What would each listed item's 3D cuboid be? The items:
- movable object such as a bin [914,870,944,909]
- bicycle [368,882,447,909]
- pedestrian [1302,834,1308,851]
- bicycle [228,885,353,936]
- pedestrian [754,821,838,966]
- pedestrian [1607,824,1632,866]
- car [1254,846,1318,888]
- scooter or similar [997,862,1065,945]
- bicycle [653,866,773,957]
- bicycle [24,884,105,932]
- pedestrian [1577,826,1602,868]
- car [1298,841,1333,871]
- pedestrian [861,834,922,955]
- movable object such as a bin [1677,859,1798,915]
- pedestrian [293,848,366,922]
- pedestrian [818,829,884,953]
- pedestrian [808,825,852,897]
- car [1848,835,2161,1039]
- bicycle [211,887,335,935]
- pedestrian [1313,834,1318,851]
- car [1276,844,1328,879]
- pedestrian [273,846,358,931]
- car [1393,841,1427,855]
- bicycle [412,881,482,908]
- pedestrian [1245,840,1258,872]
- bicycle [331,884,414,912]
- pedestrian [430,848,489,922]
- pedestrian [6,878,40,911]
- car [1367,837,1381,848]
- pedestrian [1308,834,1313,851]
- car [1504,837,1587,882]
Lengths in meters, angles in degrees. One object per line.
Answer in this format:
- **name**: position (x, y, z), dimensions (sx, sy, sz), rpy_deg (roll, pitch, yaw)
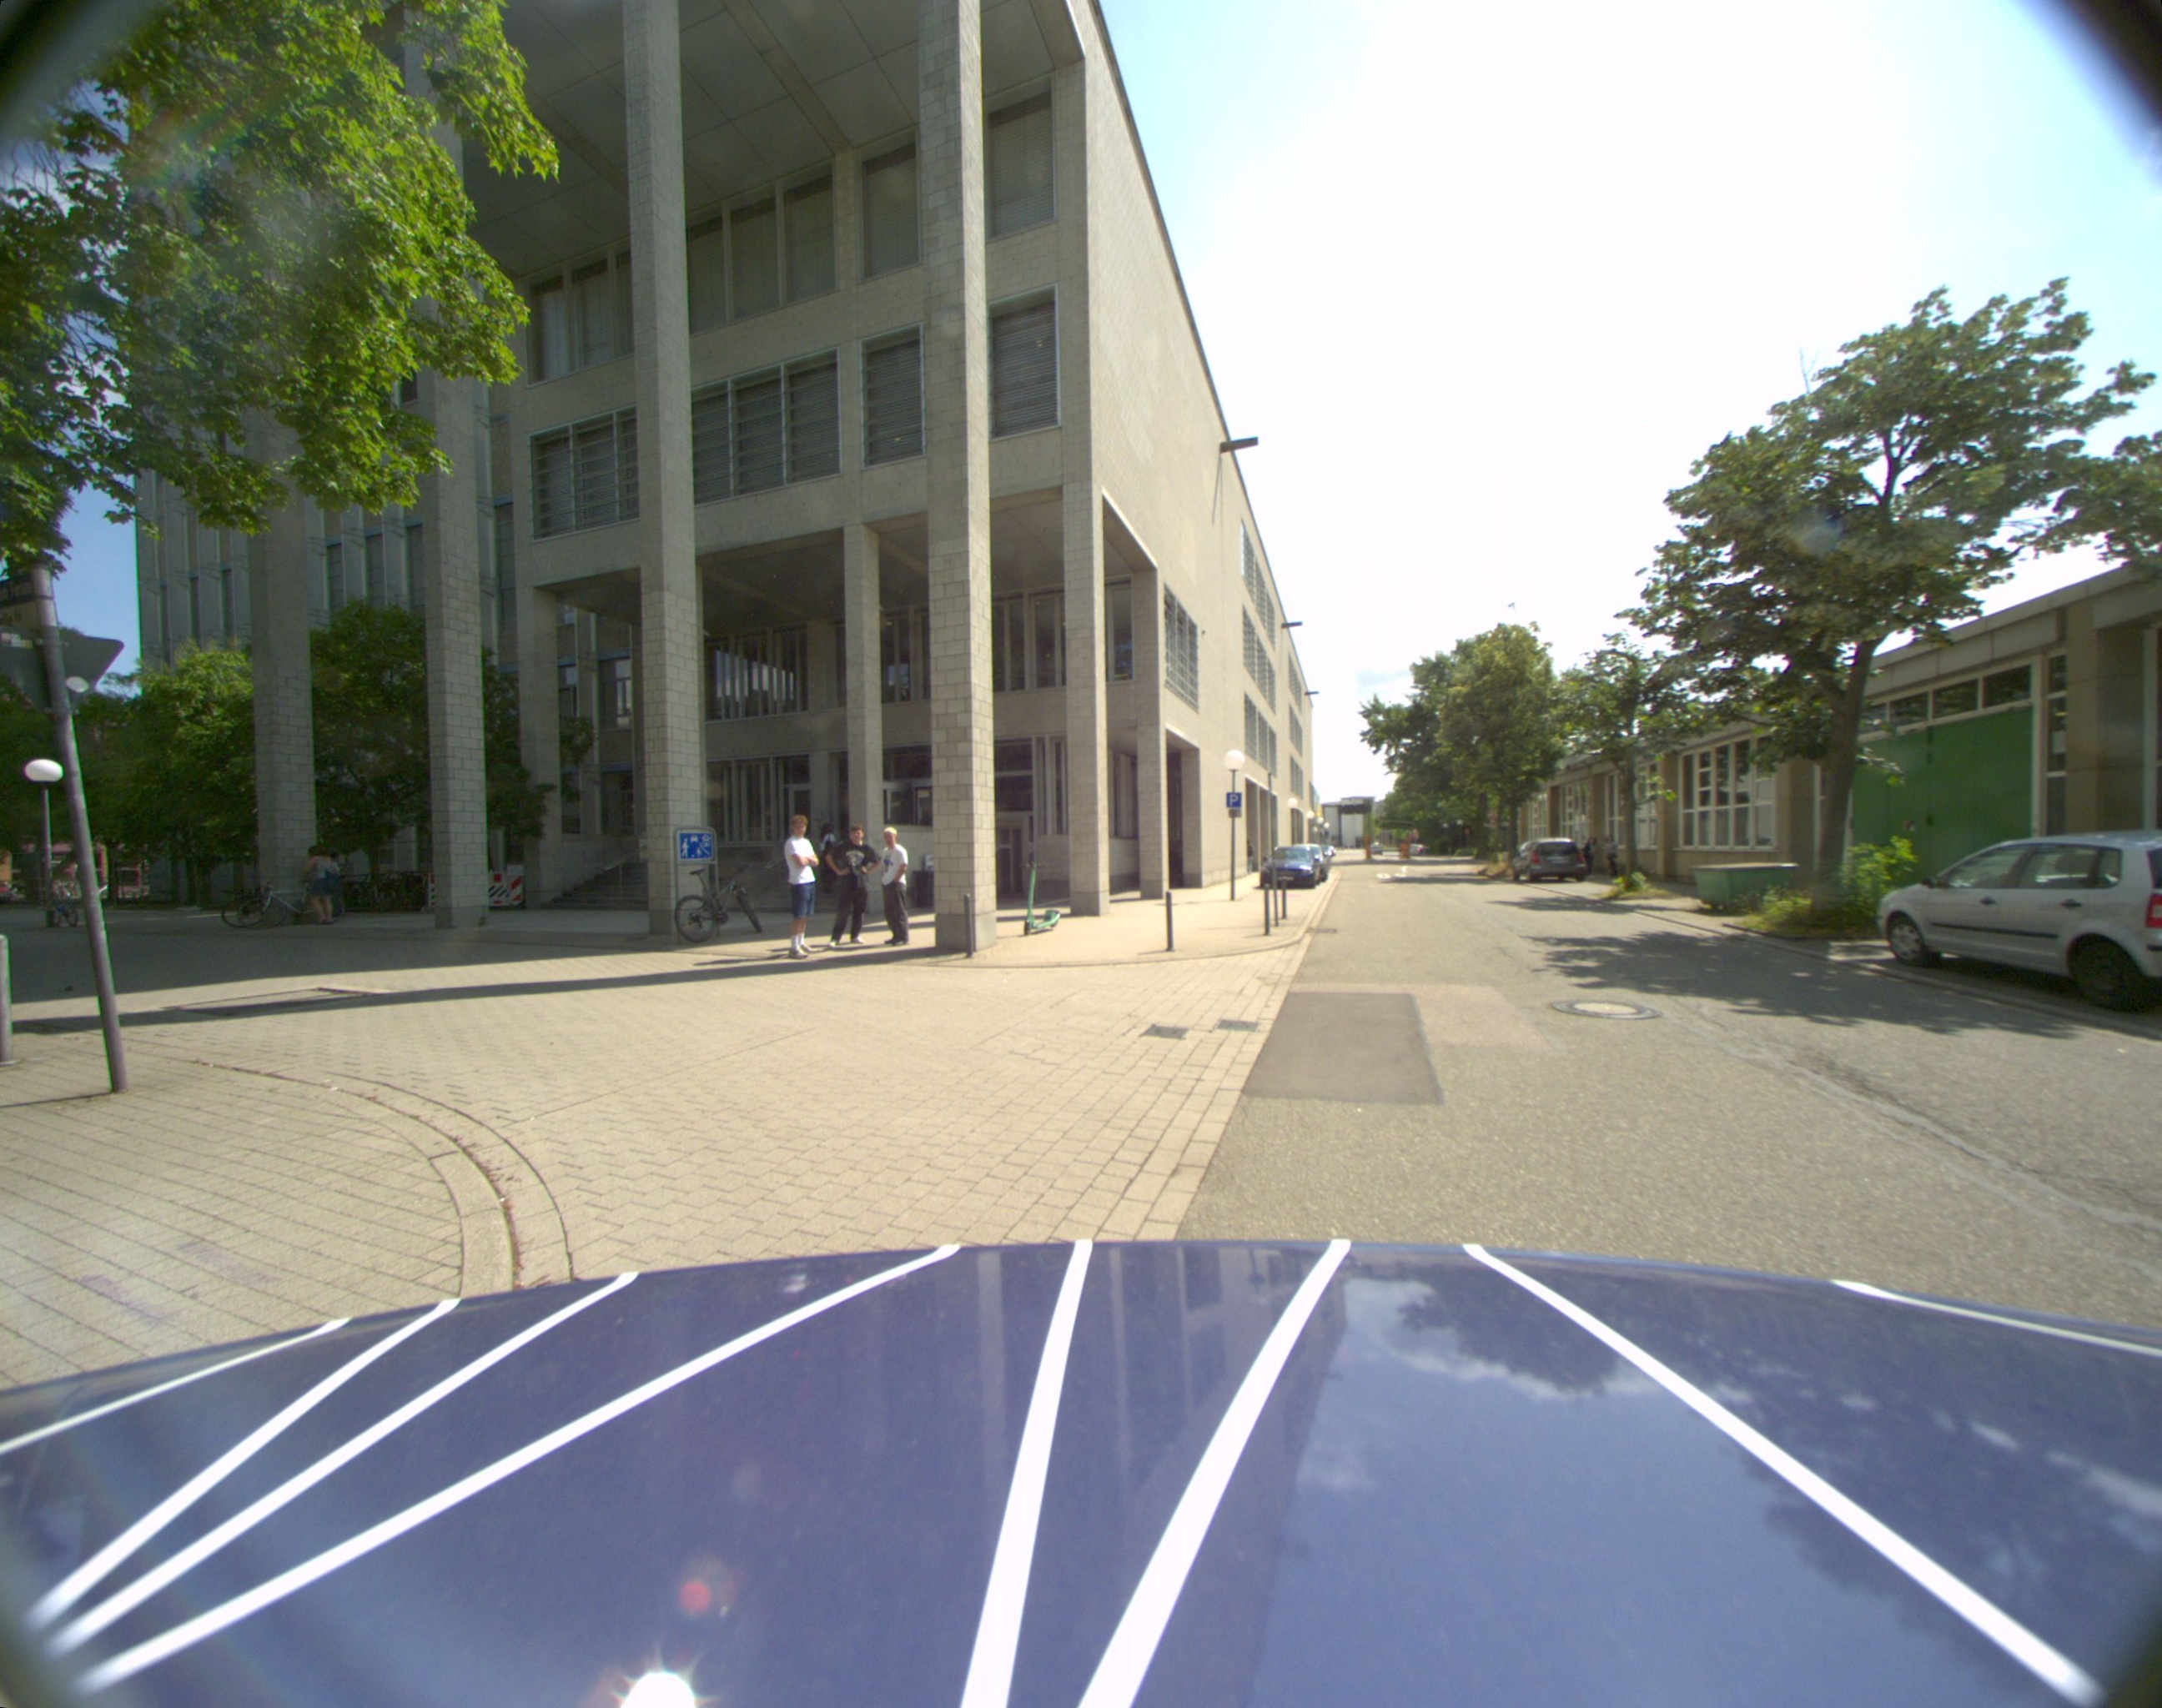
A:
- **movable object such as a bin**: position (-3.802, 0.879, 19.022), dimensions (0.512, 0.944, 0.512), rpy_deg (2, 2, 18)
- **bicycle**: position (-19.899, 1.232, 22.448), dimensions (1.987, 0.755, 0.644), rpy_deg (0, 0, 10)
- **pedestrian**: position (21.227, -1.114, 71.974), dimensions (0.440, 1.620, 0.570), rpy_deg (2, 2, 21)
- **bicycle**: position (-16.664, 1.161, 16.071), dimensions (0.336, 0.894, 1.779), rpy_deg (-2, 1, 25)
- **pedestrian**: position (-3.839, 0.515, 10.273), dimensions (0.686, 1.880, 0.687), rpy_deg (-2, 2, 17)
- **pedestrian**: position (20.376, -0.336, 28.767), dimensions (0.604, 1.572, 0.552), rpy_deg (1, 1, 17)
- **car**: position (7.317, 0.409, 26.920), dimensions (1.840, 1.390, 3.883), rpy_deg (1, 1, 20)
- **scooter or similar**: position (-0.790, 0.770, 12.480), dimensions (0.563, 1.205, 1.512), rpy_deg (2, 2, 19)
- **bicycle**: position (-5.752, 0.849, 12.007), dimensions (0.530, 1.235, 1.831), rpy_deg (-1, 2, 19)
- **bicycle**: position (-24.270, 1.278, 18.134), dimensions (1.830, 1.097, 0.571), rpy_deg (-2, 0, 18)
- **pedestrian**: position (19.492, -0.278, 29.128), dimensions (0.552, 1.572, 0.604), rpy_deg (-1, 2, -40)
- **car**: position (14.267, 0.095, 46.061), dimensions (1.796, 1.692, 4.006), rpy_deg (2, 1, 20)
- **pedestrian**: position (-2.786, 0.576, 11.200), dimensions (0.613, 1.719, 0.543), rpy_deg (-1, 2, 21)
- **movable object such as a bin**: position (13.078, 0.646, 15.228), dimensions (1.293, 0.979, 1.698), rpy_deg (-3, -1, 20)
- **pedestrian**: position (-18.414, 0.747, 18.631), dimensions (0.937, 1.730, 0.749), rpy_deg (-2, 2, 1)
- **pedestrian**: position (-3.463, 0.525, 11.425), dimensions (0.811, 1.787, 0.619), rpy_deg (-2, 2, -24)
- **pedestrian**: position (-6.131, 0.164, 18.564), dimensions (0.688, 1.724, 0.686), rpy_deg (-1, 2, 17)
- **car**: position (9.539, 0.595, 7.211), dimensions (1.632, 1.440, 3.757), rpy_deg (-4, 0, 19)
- **bicycle**: position (-17.421, 1.204, 16.428), dimensions (0.447, 0.894, 1.780), rpy_deg (-2, 0, 38)
- **pedestrian**: position (22.127, -1.086, 71.637), dimensions (0.382, 1.620, 0.520), rpy_deg (2, 2, 21)
- **car**: position (9.363, 0.286, 31.992), dimensions (1.840, 1.390, 3.883), rpy_deg (1, 1, 20)
- **pedestrian**: position (-16.114, 0.707, 16.013), dimensions (0.937, 1.730, 0.749), rpy_deg (-2, 2, 1)
- **car**: position (40.685, -0.761, 94.053), dimensions (3.669, 1.440, 1.807), rpy_deg (-4, 0, 18)
- **bicycle**: position (-19.409, 1.229, 23.261), dimensions (1.986, 0.755, 0.644), rpy_deg (0, 0, 17)
- **pedestrian**: position (8.442, 0.104, 37.561), dimensions (0.550, 1.572, 0.606), rpy_deg (1, 1, 17)
- **bicycle**: position (-20.246, 1.236, 21.724), dimensions (1.987, 0.755, 0.644), rpy_deg (0, 0, 10)
- **pedestrian**: position (-15.289, 0.750, 18.693), dimensions (0.935, 1.730, 0.750), rpy_deg (-1, 2, 28)
- **pedestrian**: position (-59.195, 2.259, 42.524), dimensions (0.977, 1.753, 0.742), rpy_deg (0, 2, -44)
- **car**: position (44.107, -1.741, 114.313), dimensions (1.801, 1.440, 3.681), rpy_deg (-4, 0, 19)
- **pedestrian**: position (21.709, -1.100, 71.787), dimensions (0.382, 1.620, 0.520), rpy_deg (2, 2, 21)
- **car**: position (17.117, 0.176, 28.160), dimensions (1.801, 1.440, 3.681), rpy_deg (-4, 0, 19)
